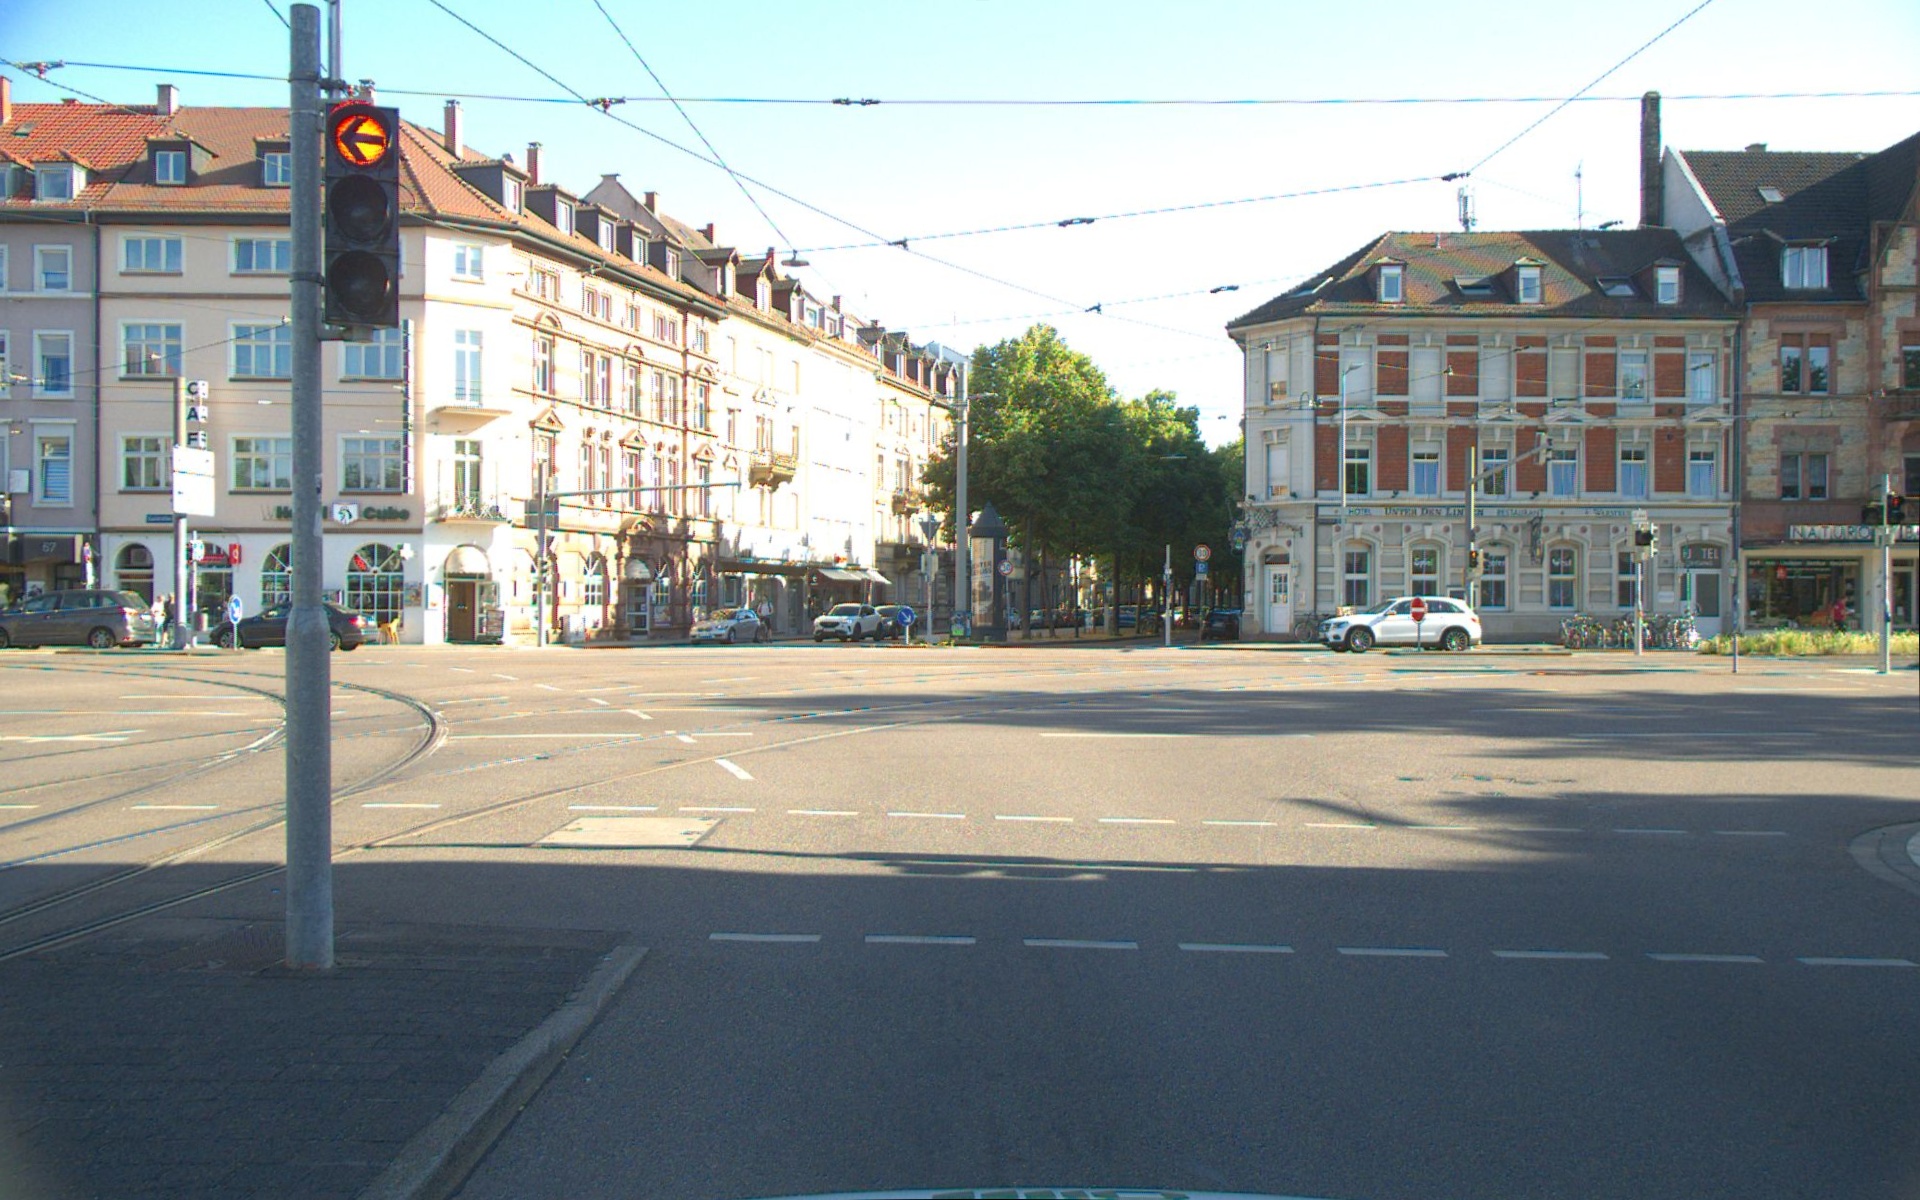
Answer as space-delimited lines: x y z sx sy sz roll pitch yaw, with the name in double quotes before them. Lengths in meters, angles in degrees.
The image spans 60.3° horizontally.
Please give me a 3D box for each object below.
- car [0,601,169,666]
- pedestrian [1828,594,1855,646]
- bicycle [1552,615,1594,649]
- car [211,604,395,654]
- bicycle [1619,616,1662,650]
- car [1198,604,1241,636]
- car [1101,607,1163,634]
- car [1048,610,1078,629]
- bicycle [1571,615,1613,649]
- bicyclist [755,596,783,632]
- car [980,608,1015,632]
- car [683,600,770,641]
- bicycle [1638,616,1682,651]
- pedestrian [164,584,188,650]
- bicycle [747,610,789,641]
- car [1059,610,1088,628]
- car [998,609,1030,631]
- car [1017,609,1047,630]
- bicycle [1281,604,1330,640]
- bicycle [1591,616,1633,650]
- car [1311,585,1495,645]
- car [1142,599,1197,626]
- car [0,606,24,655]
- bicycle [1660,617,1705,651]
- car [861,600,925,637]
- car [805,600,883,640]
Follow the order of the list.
"car" -23.895 0.875 44.332 4.418 1.701 1.999 0 0 -2
"pedestrian" 30.162 0.675 56.599 0.694 1.782 0.421 0 0 0
"bicycle" 19.822 1.026 53.514 0.593 1.069 1.641 0 0 -6
"car" -18.591 0.803 46.926 4.420 1.364 1.999 0 0 -3
"bicycle" 21.941 1.062 53.328 0.593 1.069 1.641 0 0 -6
"car" 12.971 1.003 82.468 1.616 1.551 3.755 0 -1 17
"car" 12.002 1.403 115.386 4.024 1.675 1.748 3 0 15
"car" 8.241 1.538 131.709 1.704 1.422 4.127 3 0 13
"bicycle" 20.463 1.037 53.570 0.593 1.069 1.641 0 0 -6
"bicyclist" -7.562 0.543 65.467 0.776 1.399 1.109 0 0 14
"car" 2.524 1.310 110.019 1.704 1.422 4.127 3 0 9
"car" -9.453 0.811 67.223 2.052 1.572 4.367 0 0 13
"bicycle" 22.601 1.074 53.404 0.593 1.069 1.641 0 0 -6
"pedestrian" -24.669 0.537 52.037 0.498 2.049 0.505 0 0 2
"bicycle" -7.577 0.994 65.497 0.734 1.155 2.812 0 0 14
"car" 9.419 1.574 136.505 1.704 1.422 4.127 3 0 13
"car" 3.801 1.357 115.842 1.704 1.422 4.127 3 0 9
"car" 5.332 1.413 122.842 1.704 1.422 4.127 3 0 9
"bicycle" 11.973 0.764 57.304 1.603 1.243 0.607 0 0 16
"bicycle" 21.115 1.049 53.596 0.593 1.069 1.641 0 0 -6
"car" 12.786 0.425 47.863 4.754 1.689 1.997 0 0 -6
"car" 16.955 1.014 133.667 4.026 1.952 1.746 3 0 21
"car" -32.066 0.996 52.157 3.910 1.489 1.998 -1 1 -6
"bicycle" 23.327 1.086 53.425 0.593 1.069 1.641 0 0 -6
"car" -2.962 0.797 73.475 1.951 1.540 4.004 0 0 11
"car" -4.654 0.789 67.082 2.052 1.525 4.003 0 0 13
